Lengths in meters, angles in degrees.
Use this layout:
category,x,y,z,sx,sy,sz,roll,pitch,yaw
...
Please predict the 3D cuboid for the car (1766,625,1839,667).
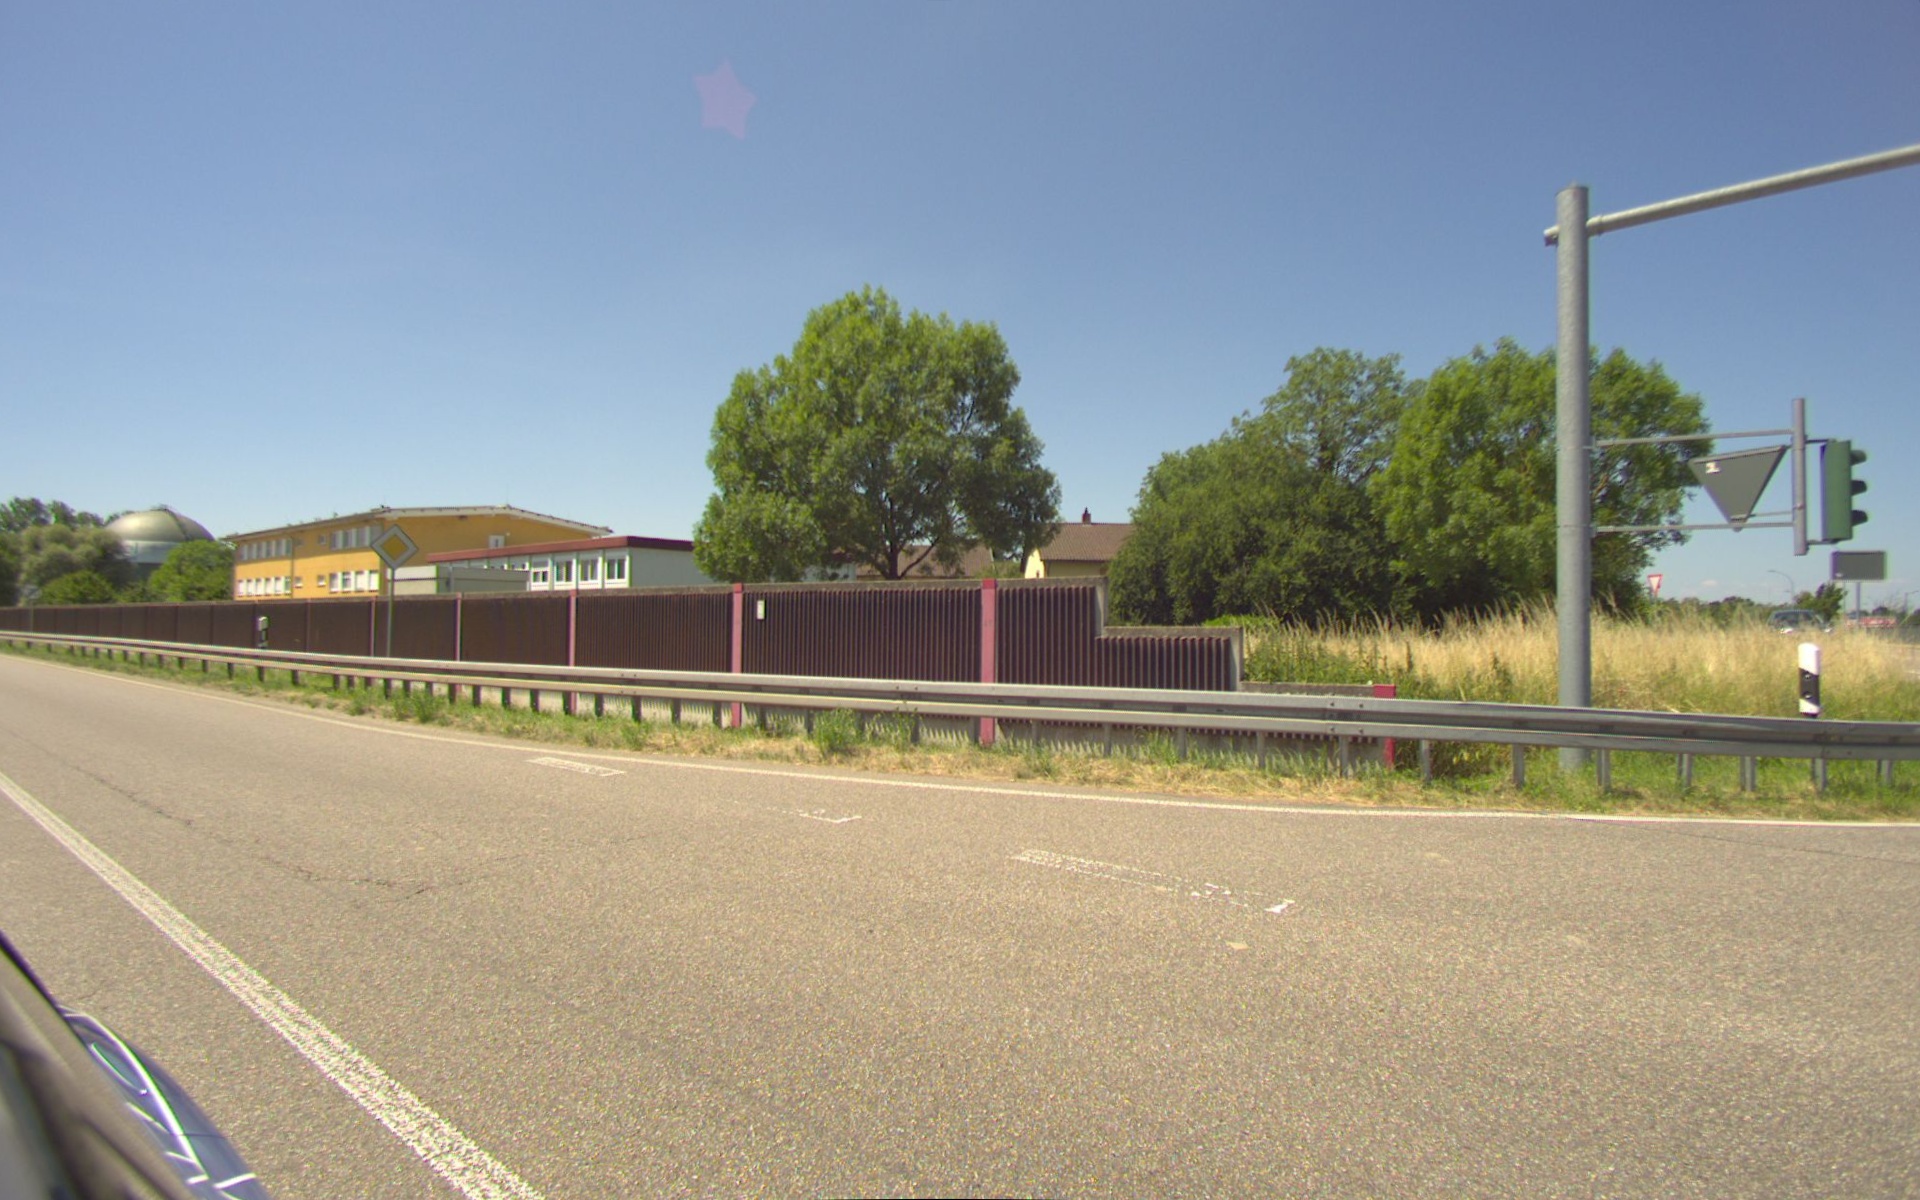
category,x,y,z,sx,sy,sz,roll,pitch,yaw
car,35.081,1.897,42.235,1.765,1.637,4.187,-2,-2,33
